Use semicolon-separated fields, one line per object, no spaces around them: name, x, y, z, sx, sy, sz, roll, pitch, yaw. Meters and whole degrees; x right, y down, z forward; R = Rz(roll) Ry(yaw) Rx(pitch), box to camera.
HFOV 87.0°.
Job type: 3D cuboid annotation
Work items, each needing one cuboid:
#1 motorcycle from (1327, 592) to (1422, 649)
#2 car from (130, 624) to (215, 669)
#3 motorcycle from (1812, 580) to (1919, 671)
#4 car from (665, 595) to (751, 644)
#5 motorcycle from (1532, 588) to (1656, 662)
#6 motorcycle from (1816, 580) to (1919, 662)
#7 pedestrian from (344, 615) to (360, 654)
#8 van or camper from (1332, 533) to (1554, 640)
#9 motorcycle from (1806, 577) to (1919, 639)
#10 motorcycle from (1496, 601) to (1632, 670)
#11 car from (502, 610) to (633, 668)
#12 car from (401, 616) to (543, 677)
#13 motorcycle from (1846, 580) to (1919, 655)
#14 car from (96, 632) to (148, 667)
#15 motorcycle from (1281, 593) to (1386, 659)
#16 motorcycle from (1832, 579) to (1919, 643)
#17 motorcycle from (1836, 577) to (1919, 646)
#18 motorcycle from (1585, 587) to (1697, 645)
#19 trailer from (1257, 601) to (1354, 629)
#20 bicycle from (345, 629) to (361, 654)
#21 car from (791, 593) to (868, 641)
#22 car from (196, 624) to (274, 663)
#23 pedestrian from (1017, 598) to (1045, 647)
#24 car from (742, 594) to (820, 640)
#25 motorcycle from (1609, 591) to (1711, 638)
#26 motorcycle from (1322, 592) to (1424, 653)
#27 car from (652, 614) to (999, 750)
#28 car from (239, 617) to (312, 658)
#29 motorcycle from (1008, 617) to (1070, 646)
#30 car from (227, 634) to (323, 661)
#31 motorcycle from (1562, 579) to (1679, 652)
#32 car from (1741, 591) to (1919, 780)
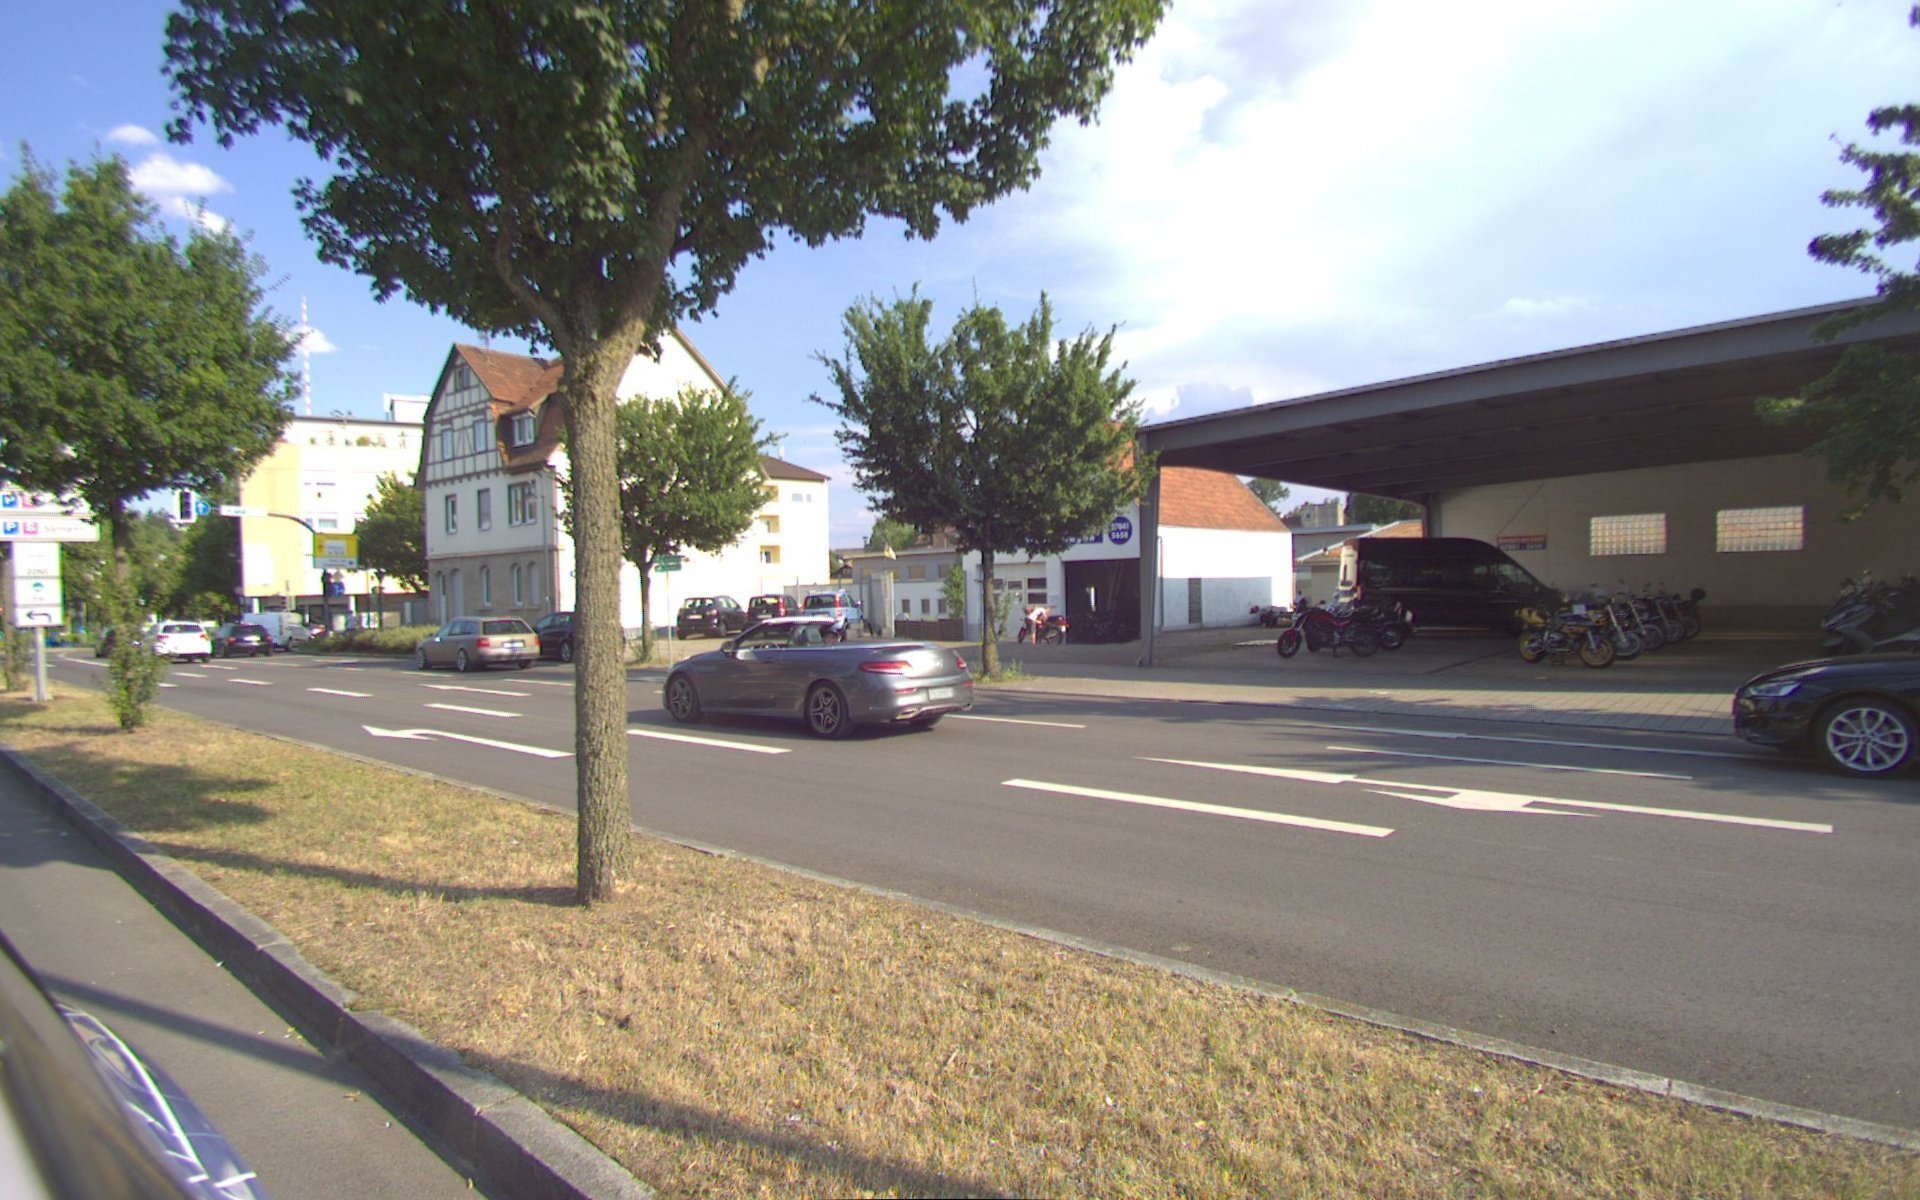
motorcycle;9.974;0.493;24.403;1.982;1.321;0.649;-1;0;5
car;-28.981;1.658;37.203;3.954;1.508;1.782;-1;0;42
motorcycle;14.029;0.362;14.992;2.093;1.317;0.561;-1;0;12
car;-9.248;0.692;37.471;1.746;1.563;3.992;-2;1;7
motorcycle;12.262;0.465;19.662;0.553;1.340;2.161;-1;0;-19
motorcycle;15.460;0.341;16.635;2.068;1.317;0.561;-1;0;12
pedestrian;-31.406;1.779;52.265;0.688;1.997;0.590;-1;0;-30
van or camper;12.948;-0.343;27.456;4.979;2.700;1.995;-1;0;8
motorcycle;20.096;0.175;22.381;2.068;1.317;0.561;-1;0;12
motorcycle;10.655;0.605;17.960;0.620;1.132;2.161;-1;0;-19
car;-11.675;1.119;29.962;4.193;1.454;1.816;-1;3;41
car;-13.208;1.213;27.278;4.707;1.473;1.669;-1;0;40
motorcycle;17.287;0.295;18.127;2.068;1.317;0.621;-1;0;12
car;-38.591;2.233;46.582;1.747;1.462;4.114;-1;-1;-41
motorcycle;7.738;0.546;21.039;1.991;1.321;0.665;-1;0;18
motorcycle;19.605;0.224;21.122;2.068;1.317;0.561;-1;0;12
motorcycle;18.426;0.211;19.658;2.068;1.317;0.581;-1;0;12
motorcycle;15.658;0.356;23.346;0.636;1.268;2.161;-1;0;-19
trailer;12.696;0.539;37.106;2.449;0.831;3.152;-1;2;38
bicycle;-31.917;2.181;53.185;0.670;1.231;1.519;-1;0;-30
car;-4.527;0.555;35.598;1.746;1.564;3.992;-1;0;7
car;-30.615;1.799;42.668;4.244;1.508;1.788;-1;0;42
pedestrian;2.295;0.724;32.707;0.642;1.535;0.676;-1;0;-28
car;-6.509;0.608;37.175;1.746;1.564;3.992;-1;0;7
motorcycle;17.409;0.357;25.229;0.553;1.131;2.161;-1;0;-19
motorcycle;9.206;0.501;22.623;1.982;1.321;0.649;-1;0;5
car;-1.810;0.891;12.584;4.476;1.359;1.762;-1;0;41
car;-35.026;1.848;51.936;1.797;1.938;4.960;-1;0;-18
motorcycle;2.584;1.029;33.205;2.212;0.927;0.500;-1;0;45
car;-41.055;2.825;60.732;4.594;1.364;1.770;-1;0;-41
motorcycle;13.993;0.318;21.534;0.584;1.459;2.161;-1;0;-19
car;8.865;0.627;7.601;4.642;1.432;1.824;-1;0;41
